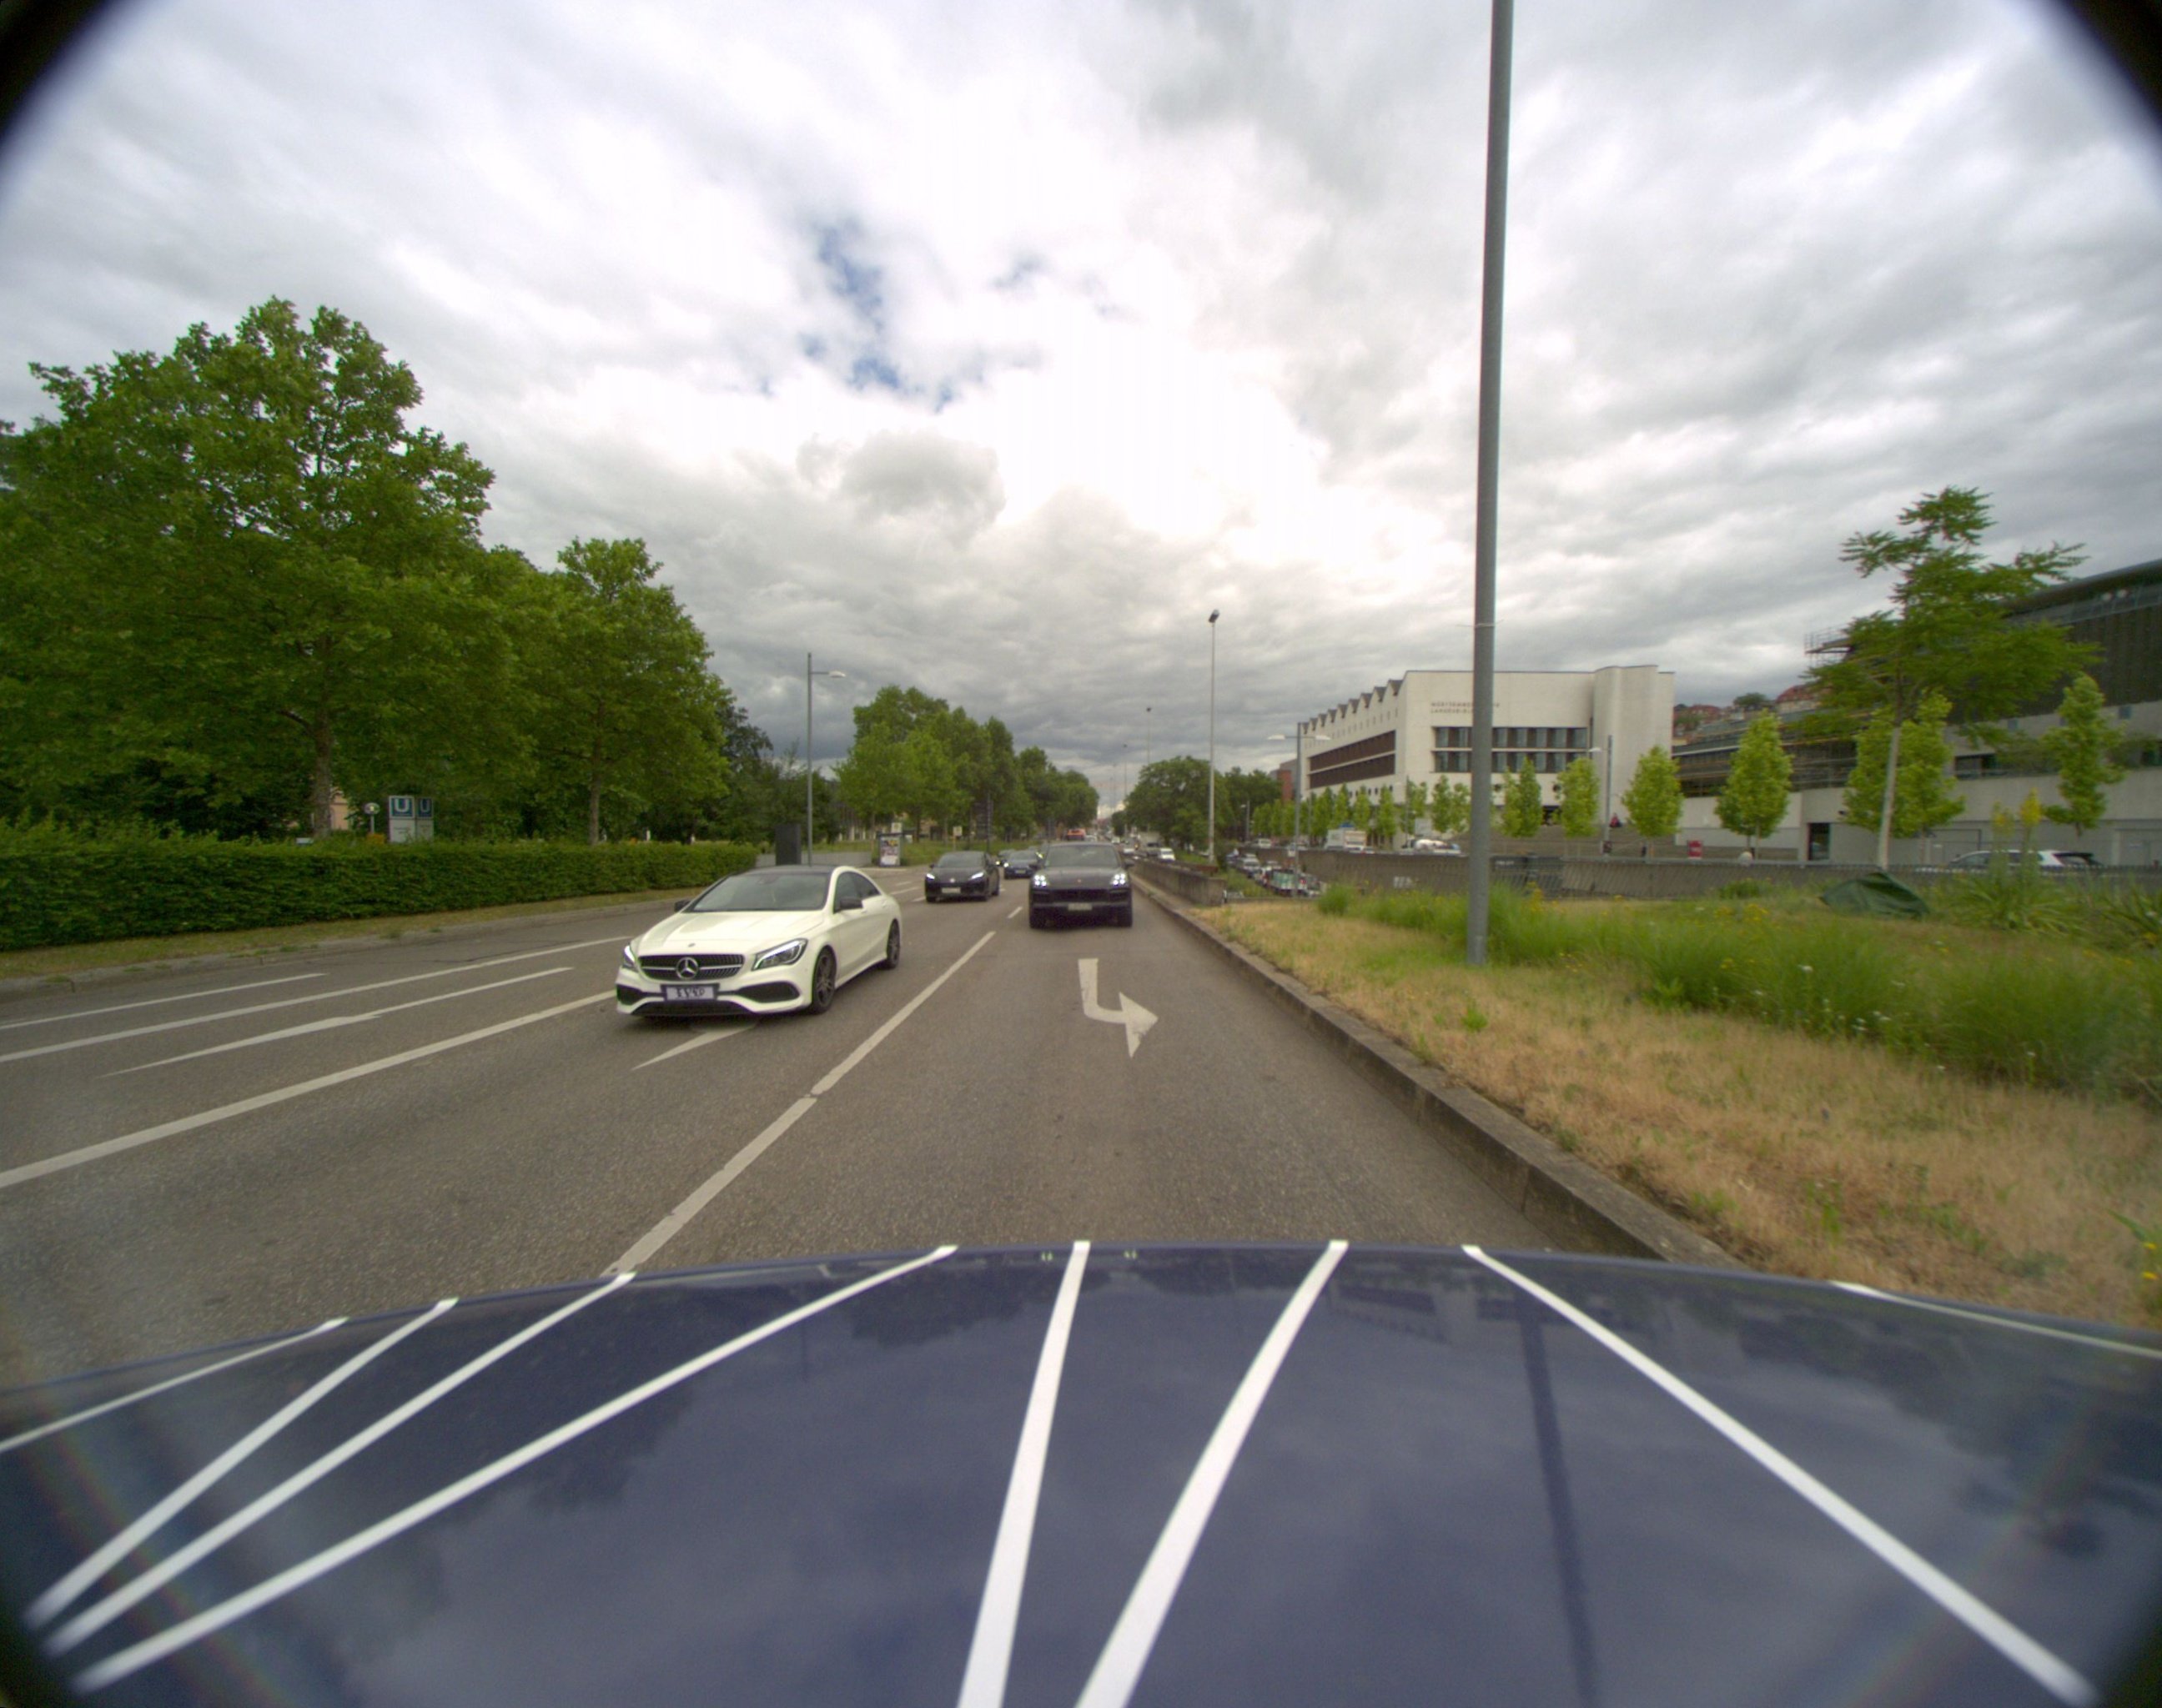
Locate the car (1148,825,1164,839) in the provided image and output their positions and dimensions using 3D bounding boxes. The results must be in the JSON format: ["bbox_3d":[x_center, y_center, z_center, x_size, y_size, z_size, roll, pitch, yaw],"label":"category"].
[{"bbox_3d":[11.283,-3.290,113.938,1.997,2.002,4.002,-2,1,9],"label":"car"}]

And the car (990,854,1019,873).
[{"bbox_3d":[-6.374,0.779,63.632,1.867,1.412,3.999,-2,1,1],"label":"car"}]

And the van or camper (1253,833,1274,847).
[{"bbox_3d":[26.947,-2.018,112.221,1.998,2.002,4.556,-1,0,1],"label":"van or camper"}]

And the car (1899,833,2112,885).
[{"bbox_3d":[31.119,0.138,25.842,1.723,1.565,4.612,-1,0,2],"label":"car"}]

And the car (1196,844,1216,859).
[{"bbox_3d":[18.228,-0.417,111.158,1.998,2.119,4.851,2,1,1],"label":"car"}]

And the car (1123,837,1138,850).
[{"bbox_3d":[7.642,-1.627,117.474,1.998,2.002,4.000,0,1,0],"label":"car"}]

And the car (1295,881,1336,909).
[{"bbox_3d":[17.505,3.034,56.840,1.794,1.805,3.927,-1,1,0],"label":"car"}]

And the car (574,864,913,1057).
[{"bbox_3d":[-3.311,0.921,8.594,1.723,1.416,4.505,-1,1,1],"label":"car"}]

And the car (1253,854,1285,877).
[{"bbox_3d":[17.684,1.033,71.730,1.998,2.002,3.999,2,1,1],"label":"car"}]

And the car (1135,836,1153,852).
[{"bbox_3d":[8.128,-1.331,97.974,1.998,2.002,4.000,0,1,0],"label":"car"}]

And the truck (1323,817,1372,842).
[{"bbox_3d":[31.298,-2.832,89.534,3.239,2.771,7.252,-1,0,0],"label":"truck"}]

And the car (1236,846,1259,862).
[{"bbox_3d":[21.055,-0.029,95.996,1.998,2.002,3.999,2,1,1],"label":"car"}]

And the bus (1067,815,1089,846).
[{"bbox_3d":[-0.462,-3.362,109.523,3.043,4.328,8.747,-1,1,0],"label":"bus"}]

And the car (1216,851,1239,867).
[{"bbox_3d":[17.724,0.587,92.105,1.998,1.733,4.281,2,1,1],"label":"car"}]

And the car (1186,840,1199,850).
[{"bbox_3d":[18.137,-1.503,124.148,1.675,1.477,3.361,0,1,1],"label":"car"}]

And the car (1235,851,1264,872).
[{"bbox_3d":[17.769,0.761,80.365,1.998,2.002,4.332,2,1,1],"label":"car"}]

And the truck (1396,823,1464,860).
[{"bbox_3d":[28.285,-1.009,61.936,2.470,2.800,7.078,-1,0,2],"label":"truck"}]

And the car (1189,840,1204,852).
[{"bbox_3d":[20.601,-1.471,135.375,1.998,2.002,4.654,-1,1,1],"label":"car"}]

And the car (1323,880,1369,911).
[{"bbox_3d":[20.043,3.126,57.605,1.998,1.944,4.228,-2,1,0],"label":"car"}]

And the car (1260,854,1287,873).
[{"bbox_3d":[21.367,1.014,84.507,1.998,2.002,3.999,2,1,1],"label":"car"}]

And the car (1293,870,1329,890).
[{"bbox_3d":[20.825,2.300,68.923,1.998,1.543,3.999,-2,1,0],"label":"car"}]

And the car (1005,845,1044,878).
[{"bbox_3d":[-2.901,0.349,39.580,1.573,1.528,4.001,-1,1,2],"label":"car"}]

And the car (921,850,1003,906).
[{"bbox_3d":[-3.576,0.664,23.625,1.830,1.515,4.119,-1,1,1],"label":"car"}]

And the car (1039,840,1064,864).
[{"bbox_3d":[-2.355,-0.203,61.772,1.723,1.851,4.429,-1,1,1],"label":"car"}]

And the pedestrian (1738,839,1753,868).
[{"bbox_3d":[35.551,-0.020,40.641,0.428,1.513,0.461,-2,2,-6],"label":"pedestrian"}]

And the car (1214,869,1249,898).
[{"bbox_3d":[11.584,2.251,58.691,1.998,2.002,4.000,-1,1,1],"label":"car"}]

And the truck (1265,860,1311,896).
[{"bbox_3d":[17.457,1.971,64.325,2.324,2.676,5.978,-1,1,1],"label":"truck"}]

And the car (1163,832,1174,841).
[{"bbox_3d":[20.568,-4.144,177.993,1.998,2.002,3.999,-2,1,0],"label":"car"}]

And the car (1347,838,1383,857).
[{"bbox_3d":[28.262,-0.643,75.804,1.998,1.805,4.257,-1,0,1],"label":"car"}]

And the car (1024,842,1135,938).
[{"bbox_3d":[0.008,0.615,15.918,1.937,1.668,4.679,-2,1,1],"label":"car"}]
